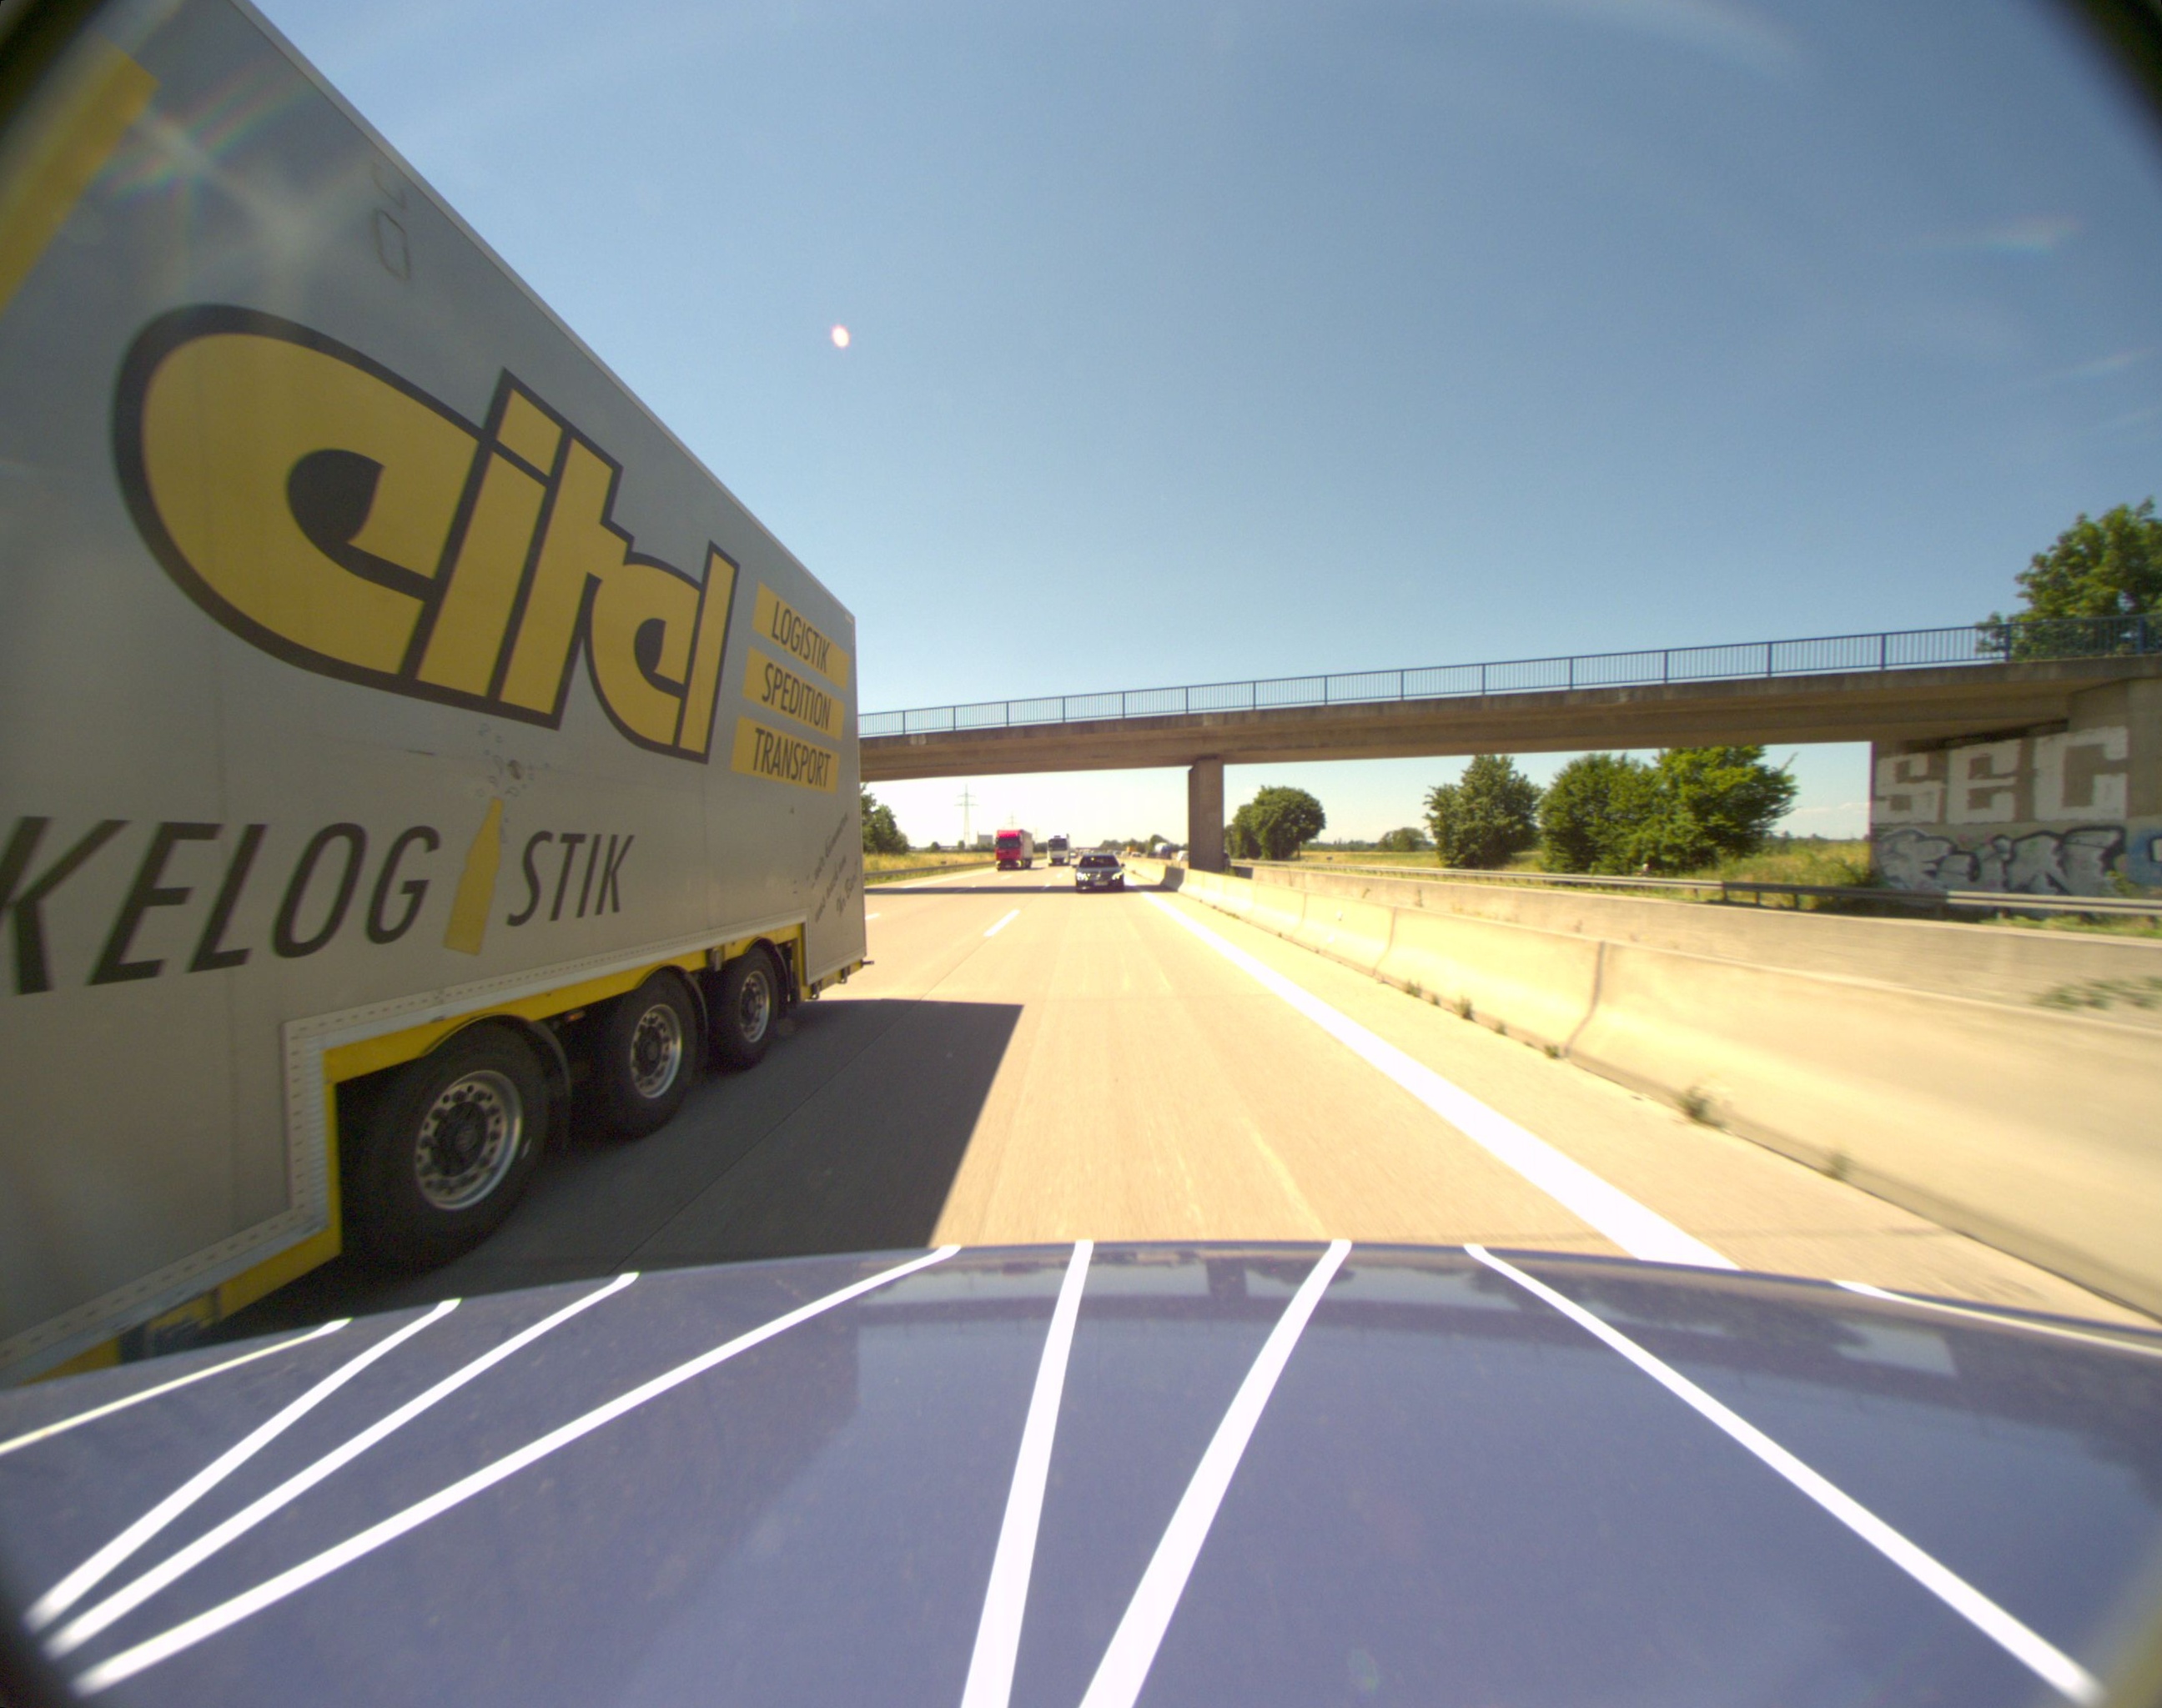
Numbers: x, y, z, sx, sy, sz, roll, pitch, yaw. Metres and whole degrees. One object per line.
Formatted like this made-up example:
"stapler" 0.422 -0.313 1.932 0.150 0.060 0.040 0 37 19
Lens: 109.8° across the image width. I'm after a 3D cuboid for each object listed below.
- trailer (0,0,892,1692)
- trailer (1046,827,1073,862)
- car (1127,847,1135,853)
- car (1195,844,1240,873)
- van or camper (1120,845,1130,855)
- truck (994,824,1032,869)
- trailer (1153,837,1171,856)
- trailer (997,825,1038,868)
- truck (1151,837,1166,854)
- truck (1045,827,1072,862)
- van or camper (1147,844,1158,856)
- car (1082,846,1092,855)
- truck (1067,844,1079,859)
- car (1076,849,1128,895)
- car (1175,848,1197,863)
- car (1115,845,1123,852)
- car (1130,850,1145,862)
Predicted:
"trailer" -3.303 -0.349 1.315 1.998 4.230 15.197 -2 1 0
"trailer" -2.658 -1.269 98.627 2.960 4.122 12.024 -2 1 1
"car" 15.695 -1.352 239.080 1.998 1.893 3.999 -2 1 1
"car" 10.014 0.286 56.034 2.312 2.002 5.654 -2 1 1
"van or camper" 10.621 -1.088 183.467 1.998 2.284 6.469 -2 1 1
"truck" -6.684 -0.729 75.445 2.959 4.122 6.151 -2 1 1
"trailer" 17.957 -1.696 169.782 2.684 3.946 13.004 0 1 0
"trailer" -6.659 -0.843 81.587 2.960 4.122 13.808 -2 1 1
"truck" 17.927 -1.969 175.612 2.663 3.946 6.619 0 1 0
"truck" -2.689 -1.177 93.204 2.960 4.122 6.151 -2 1 1
"van or camper" 14.511 -0.793 154.368 1.942 2.207 4.795 -2 1 1
"car" 1.304 -0.716 156.817 1.998 1.781 4.300 -2 1 1
"truck" -2.192 -0.713 216.884 2.960 4.122 10.016 -2 1 1
"car" 0.789 0.651 29.591 1.848 1.576 3.939 -2 1 1
"car" 14.424 0.190 104.702 2.258 1.947 5.684 0 1 0
"car" 11.063 -1.510 220.237 1.998 1.893 3.999 -2 1 1
"car" 10.396 0.313 141.030 2.258 2.002 5.978 -2 1 0
